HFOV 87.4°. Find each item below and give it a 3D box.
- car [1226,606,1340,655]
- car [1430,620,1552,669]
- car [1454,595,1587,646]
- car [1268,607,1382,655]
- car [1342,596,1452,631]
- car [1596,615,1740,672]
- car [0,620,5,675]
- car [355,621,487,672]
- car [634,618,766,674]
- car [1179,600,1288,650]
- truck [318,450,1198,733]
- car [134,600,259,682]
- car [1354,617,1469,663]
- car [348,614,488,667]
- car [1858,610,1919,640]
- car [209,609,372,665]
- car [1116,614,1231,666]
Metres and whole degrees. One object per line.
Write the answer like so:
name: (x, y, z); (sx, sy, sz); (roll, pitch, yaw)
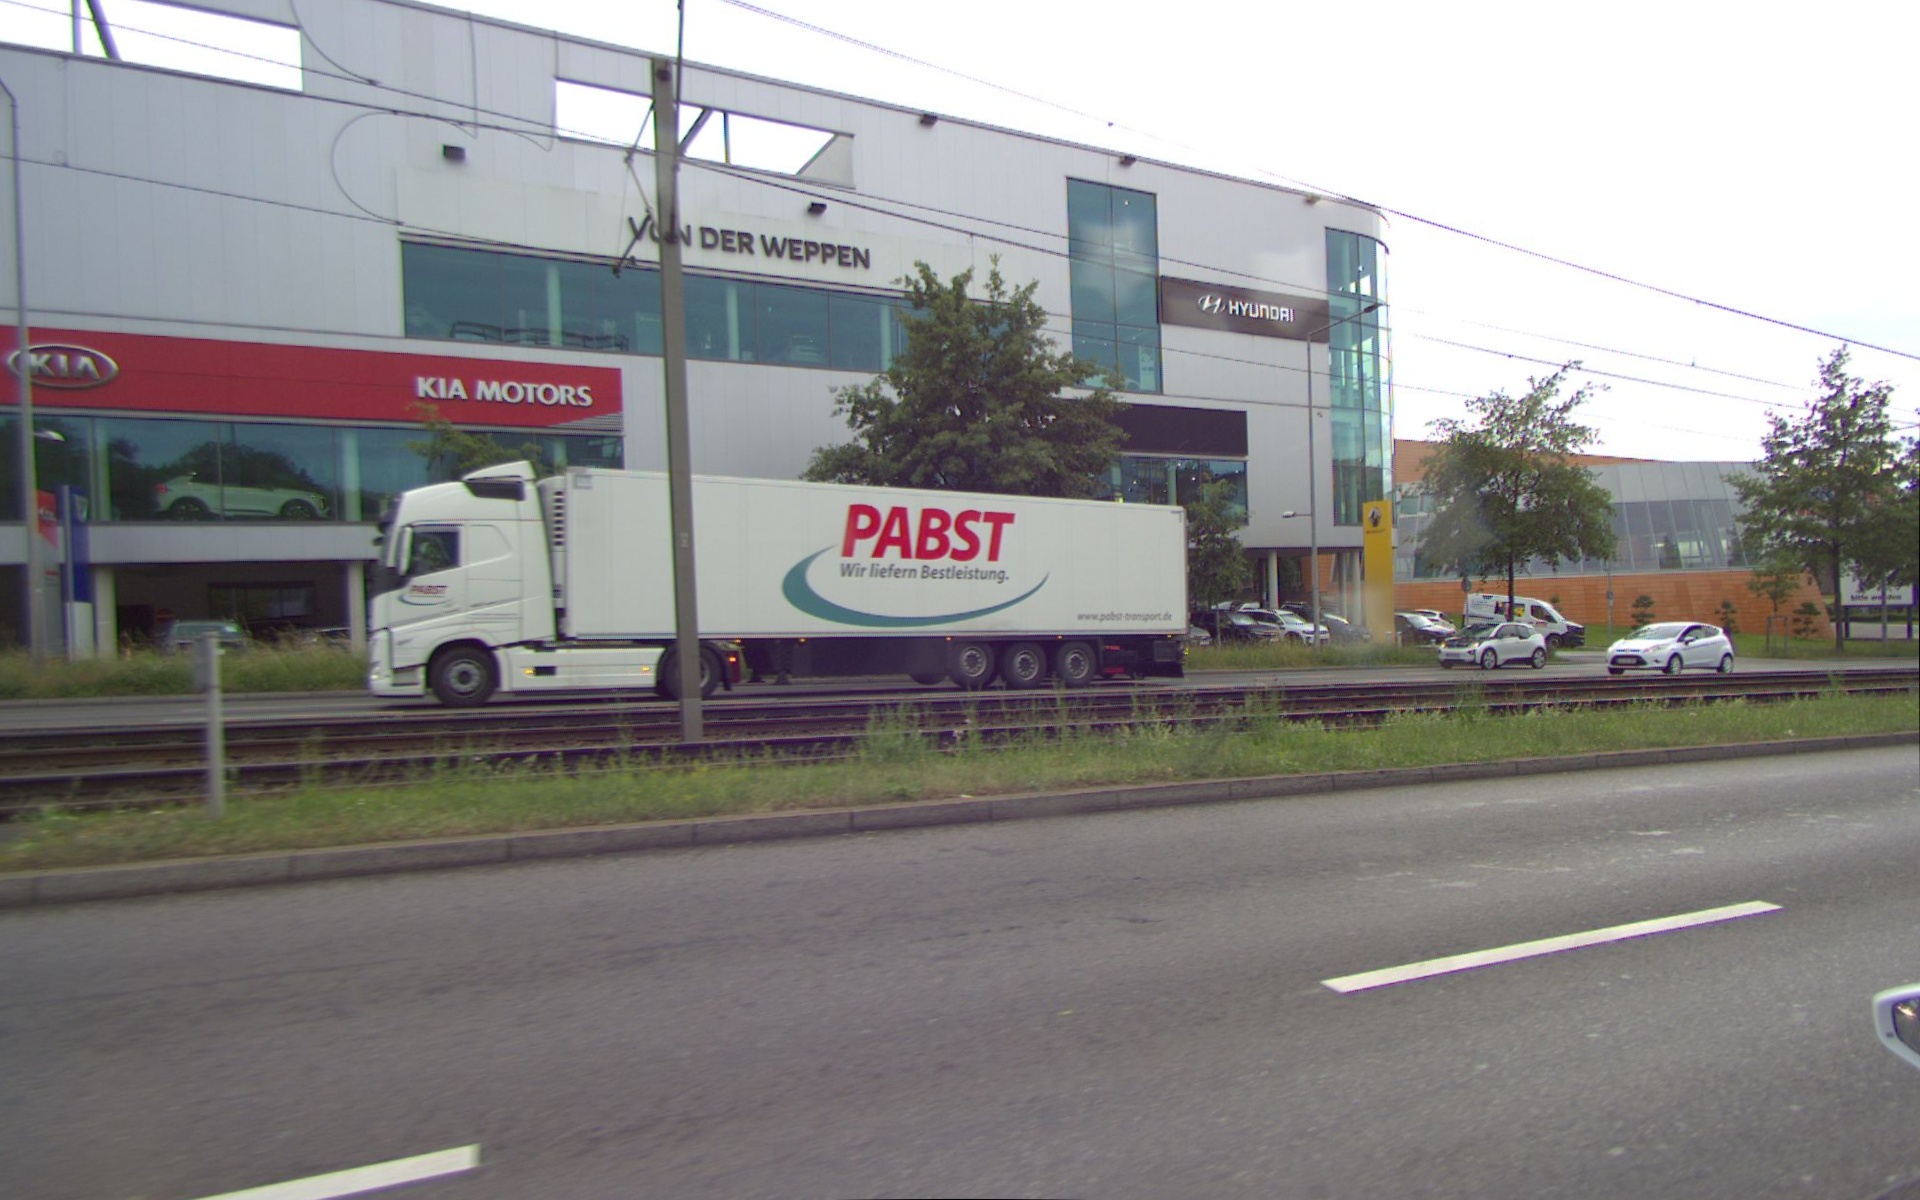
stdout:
car: (13.941, 1.281, 43.588); (1.997, 2.002, 4.579); (1, -1, -31)
car: (18.217, 1.517, 34.449); (3.842, 1.564, 1.658); (1, 0, -24)
car: (29.006, 1.012, 52.118); (2.252, 2.464, 5.584); (1, 0, -43)
car: (16.253, 1.360, 44.943); (1.997, 2.002, 4.579); (1, -1, -31)
car: (24.658, 0.750, 56.835); (2.252, 1.808, 5.271); (1, 0, -43)
car: (19.785, 1.201, 28.068); (3.845, 1.461, 1.657); (1, 0, -26)
car: (-34.298, 1.607, 32.282); (4.883, 1.816, 1.983); (0, 1, -31)
car: (-15.478, 1.284, 28.767); (4.270, 1.325, 1.864); (-1, -1, 39)
car: (-8.622, 1.437, 32.995); (2.007, 1.675, 4.952); (1, -1, -45)
car: (11.319, 1.024, 41.839); (1.853, 2.002, 4.326); (1, -1, -31)
truck: (-2.753, -0.180, 20.347); (16.981, 4.237, 3.030); (0, 1, -28)
car: (-20.091, 1.012, 26.345); (2.007, 1.958, 4.905); (1, -1, -45)
car: (20.876, 1.807, 46.642); (1.997, 2.002, 4.578); (1, -1, -31)
car: (-18.365, 1.313, 33.994); (4.553, 1.686, 2.017); (0, -1, 29)
car: (62.910, 1.645, 66.844); (2.072, 1.834, 4.305); (-1, 1, -27)
car: (-24.562, 1.306, 37.086); (4.883, 1.936, 1.983); (0, 1, -31)
car: (8.590, 1.564, 40.776); (1.997, 2.002, 4.579); (1, -1, -31)
